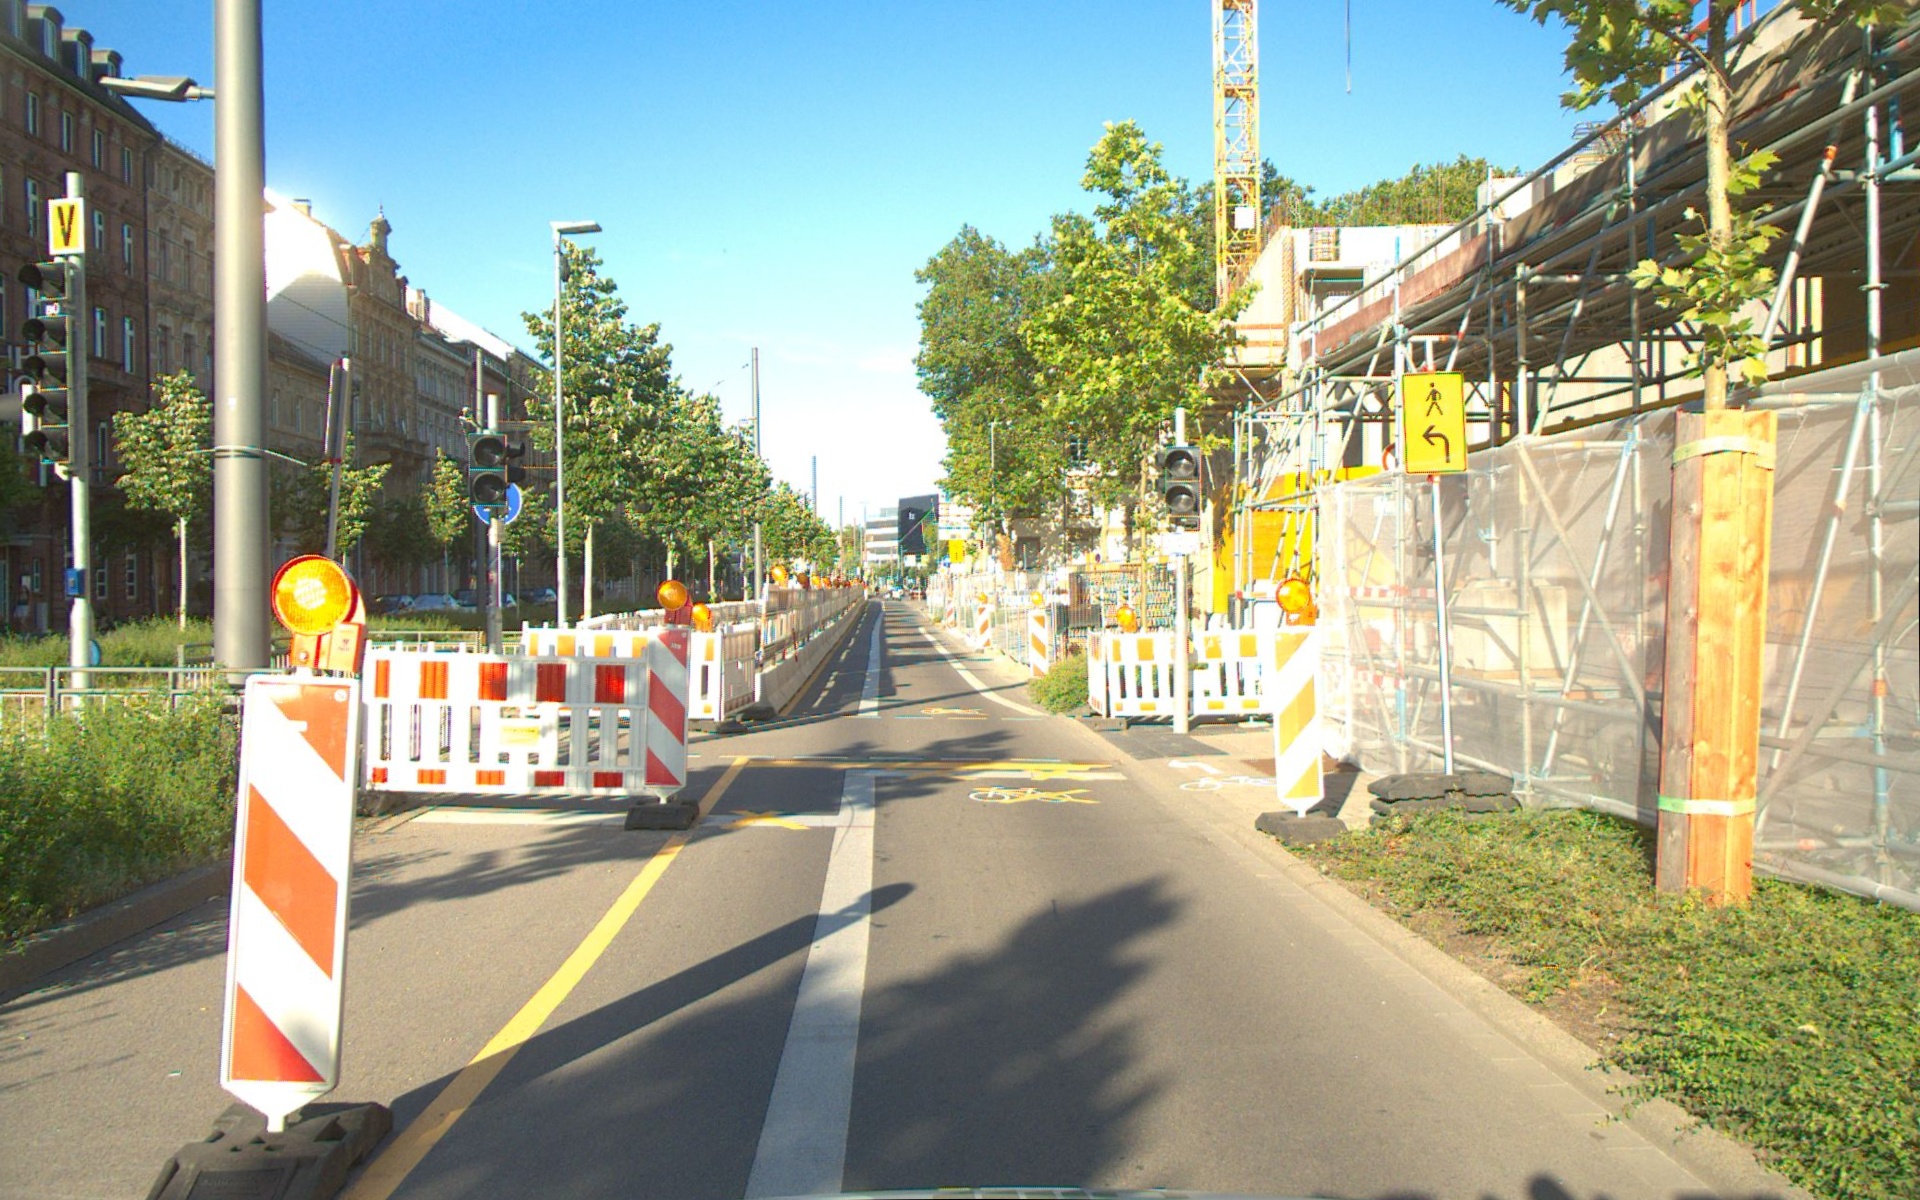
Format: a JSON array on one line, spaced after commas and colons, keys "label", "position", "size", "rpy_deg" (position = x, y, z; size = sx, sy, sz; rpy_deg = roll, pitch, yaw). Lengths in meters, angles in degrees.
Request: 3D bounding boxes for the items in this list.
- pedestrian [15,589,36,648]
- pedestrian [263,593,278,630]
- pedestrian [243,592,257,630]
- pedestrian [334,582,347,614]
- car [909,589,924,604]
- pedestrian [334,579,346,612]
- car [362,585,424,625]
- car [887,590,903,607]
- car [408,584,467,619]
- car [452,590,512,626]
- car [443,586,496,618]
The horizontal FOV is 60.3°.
[{"label": "pedestrian", "position": [-28.862, 0.569, 51.081], "size": [0.359, 1.795, 0.406], "rpy_deg": [2, 0, -3]}, {"label": "pedestrian", "position": [-29.575, 0.491, 70.940], "size": [0.420, 1.612, 0.339], "rpy_deg": [2, 0, -1]}, {"label": "pedestrian", "position": [-30.417, 0.489, 70.851], "size": [0.425, 1.612, 0.385], "rpy_deg": [2, 0, -5]}, {"label": "pedestrian", "position": [-29.899, -0.091, 79.815], "size": [0.397, 1.559, 0.435], "rpy_deg": [2, 0, -3]}, {"label": "car", "position": [-5.766, -0.501, 219.874], "size": [1.845, 1.875, 3.666], "rpy_deg": [-1, 1, -3]}, {"label": "pedestrian", "position": [-29.913, -0.218, 79.826], "size": [0.397, 1.561, 0.435], "rpy_deg": [2, 0, -3]}, {"label": "car", "position": [-24.863, 0.185, 72.642], "size": [1.535, 1.704, 3.807], "rpy_deg": [-1, 1, -3]}, {"label": "car", "position": [-7.602, -0.177, 192.810], "size": [1.845, 1.875, 3.666], "rpy_deg": [-1, 1, -3]}, {"label": "car", "position": [-25.107, 0.036, 79.589], "size": [1.535, 1.590, 4.712], "rpy_deg": [-1, 1, -3]}, {"label": "car", "position": [-20.625, 0.311, 71.504], "size": [1.562, 1.509, 3.622], "rpy_deg": [0, 0, -1]}, {"label": "car", "position": [-25.465, 0.100, 86.000], "size": [1.535, 1.590, 4.712], "rpy_deg": [-1, 1, -3]}]
